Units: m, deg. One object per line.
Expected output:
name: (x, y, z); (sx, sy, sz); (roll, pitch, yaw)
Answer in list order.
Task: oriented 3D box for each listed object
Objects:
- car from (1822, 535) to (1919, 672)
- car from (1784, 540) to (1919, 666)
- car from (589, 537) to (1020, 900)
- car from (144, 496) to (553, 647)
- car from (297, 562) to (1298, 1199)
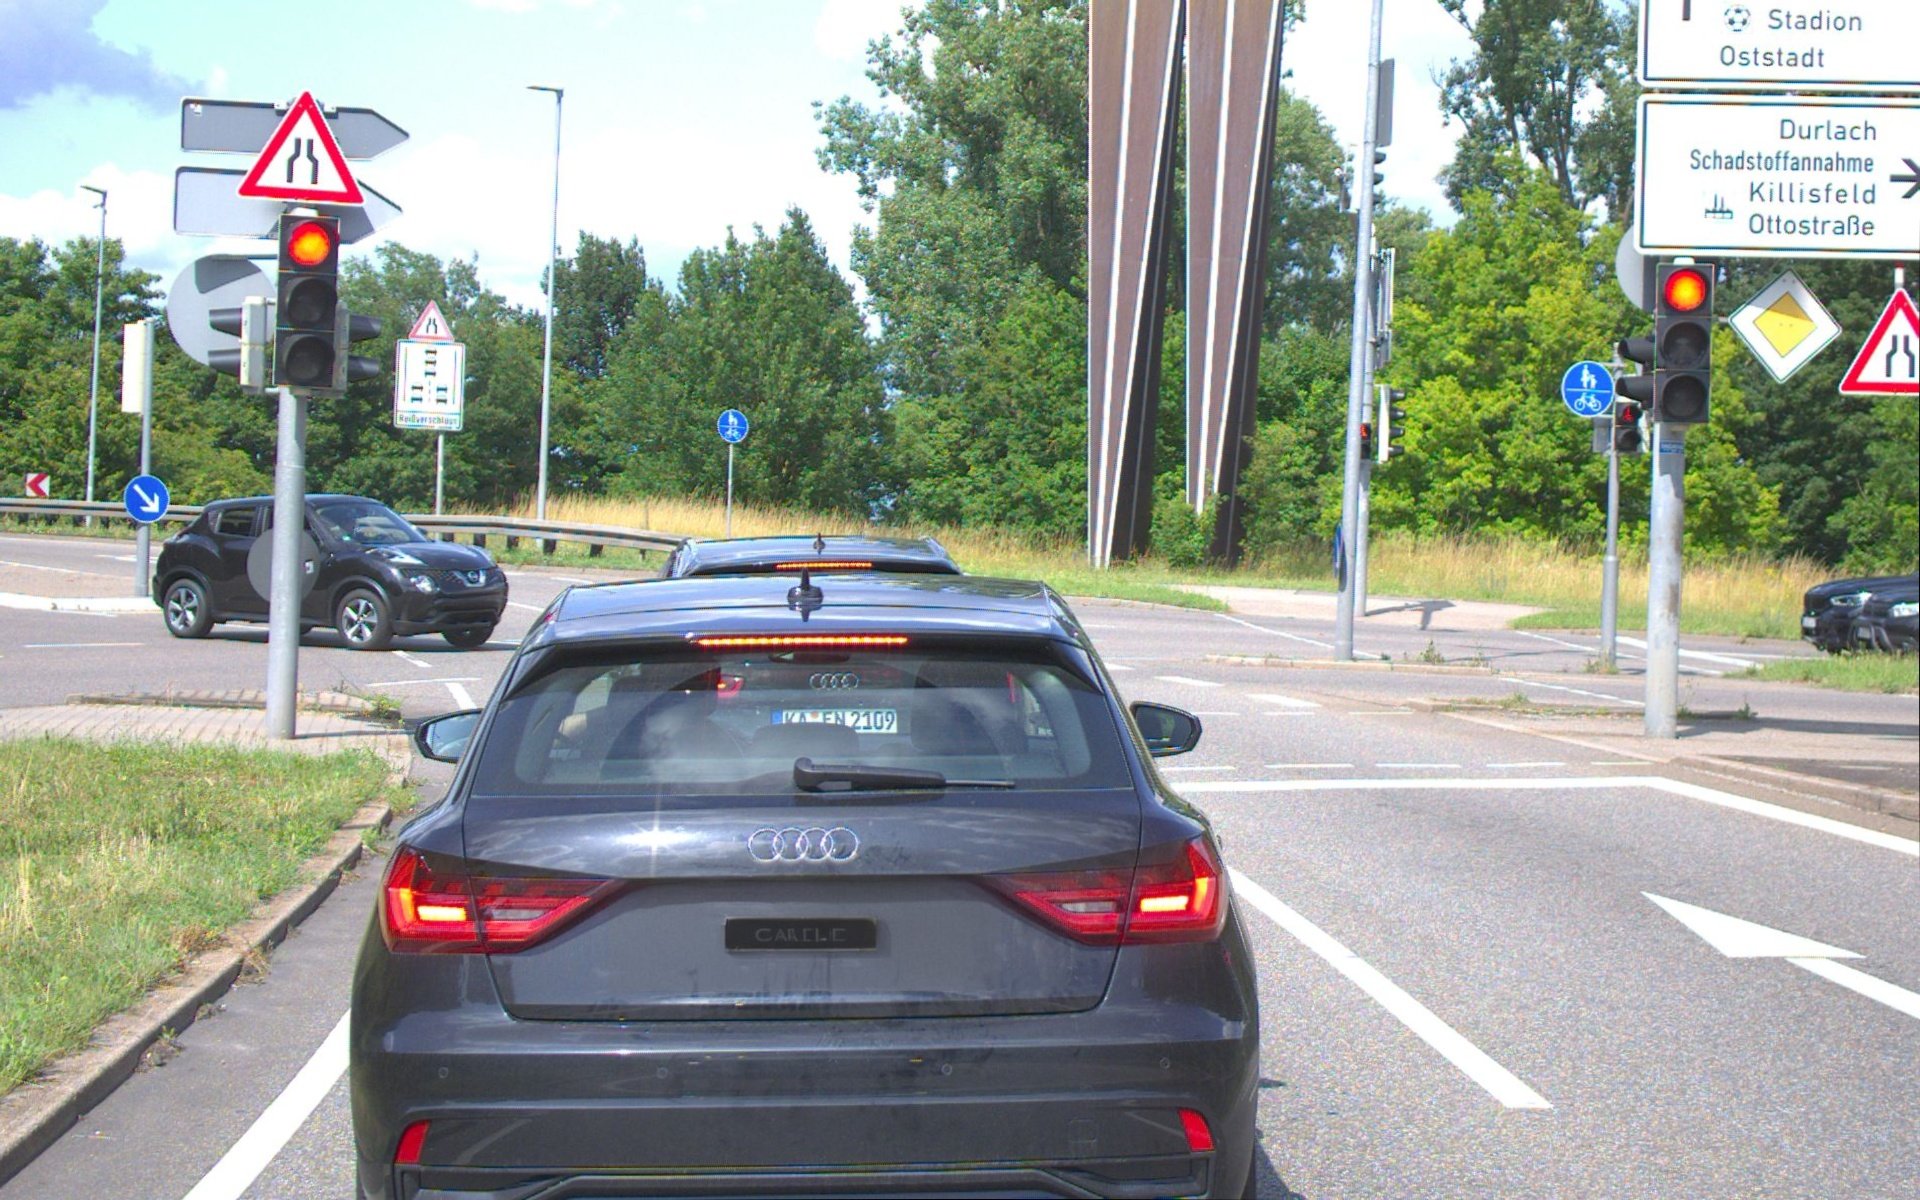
car: (12.487, 0.078, 40.296); (4.268, 1.539, 1.737); (2, 1, -1)
car: (13.253, 0.077, 44.154); (4.847, 1.539, 1.737); (2, 1, -1)
car: (-0.780, 0.438, 15.734); (1.726, 1.418, 3.845); (0, 1, -5)
car: (-6.437, -0.315, 36.078); (3.965, 1.413, 1.949); (3, 1, 35)
car: (-0.304, 0.643, 7.947); (1.726, 1.399, 4.000); (0, 1, -1)
